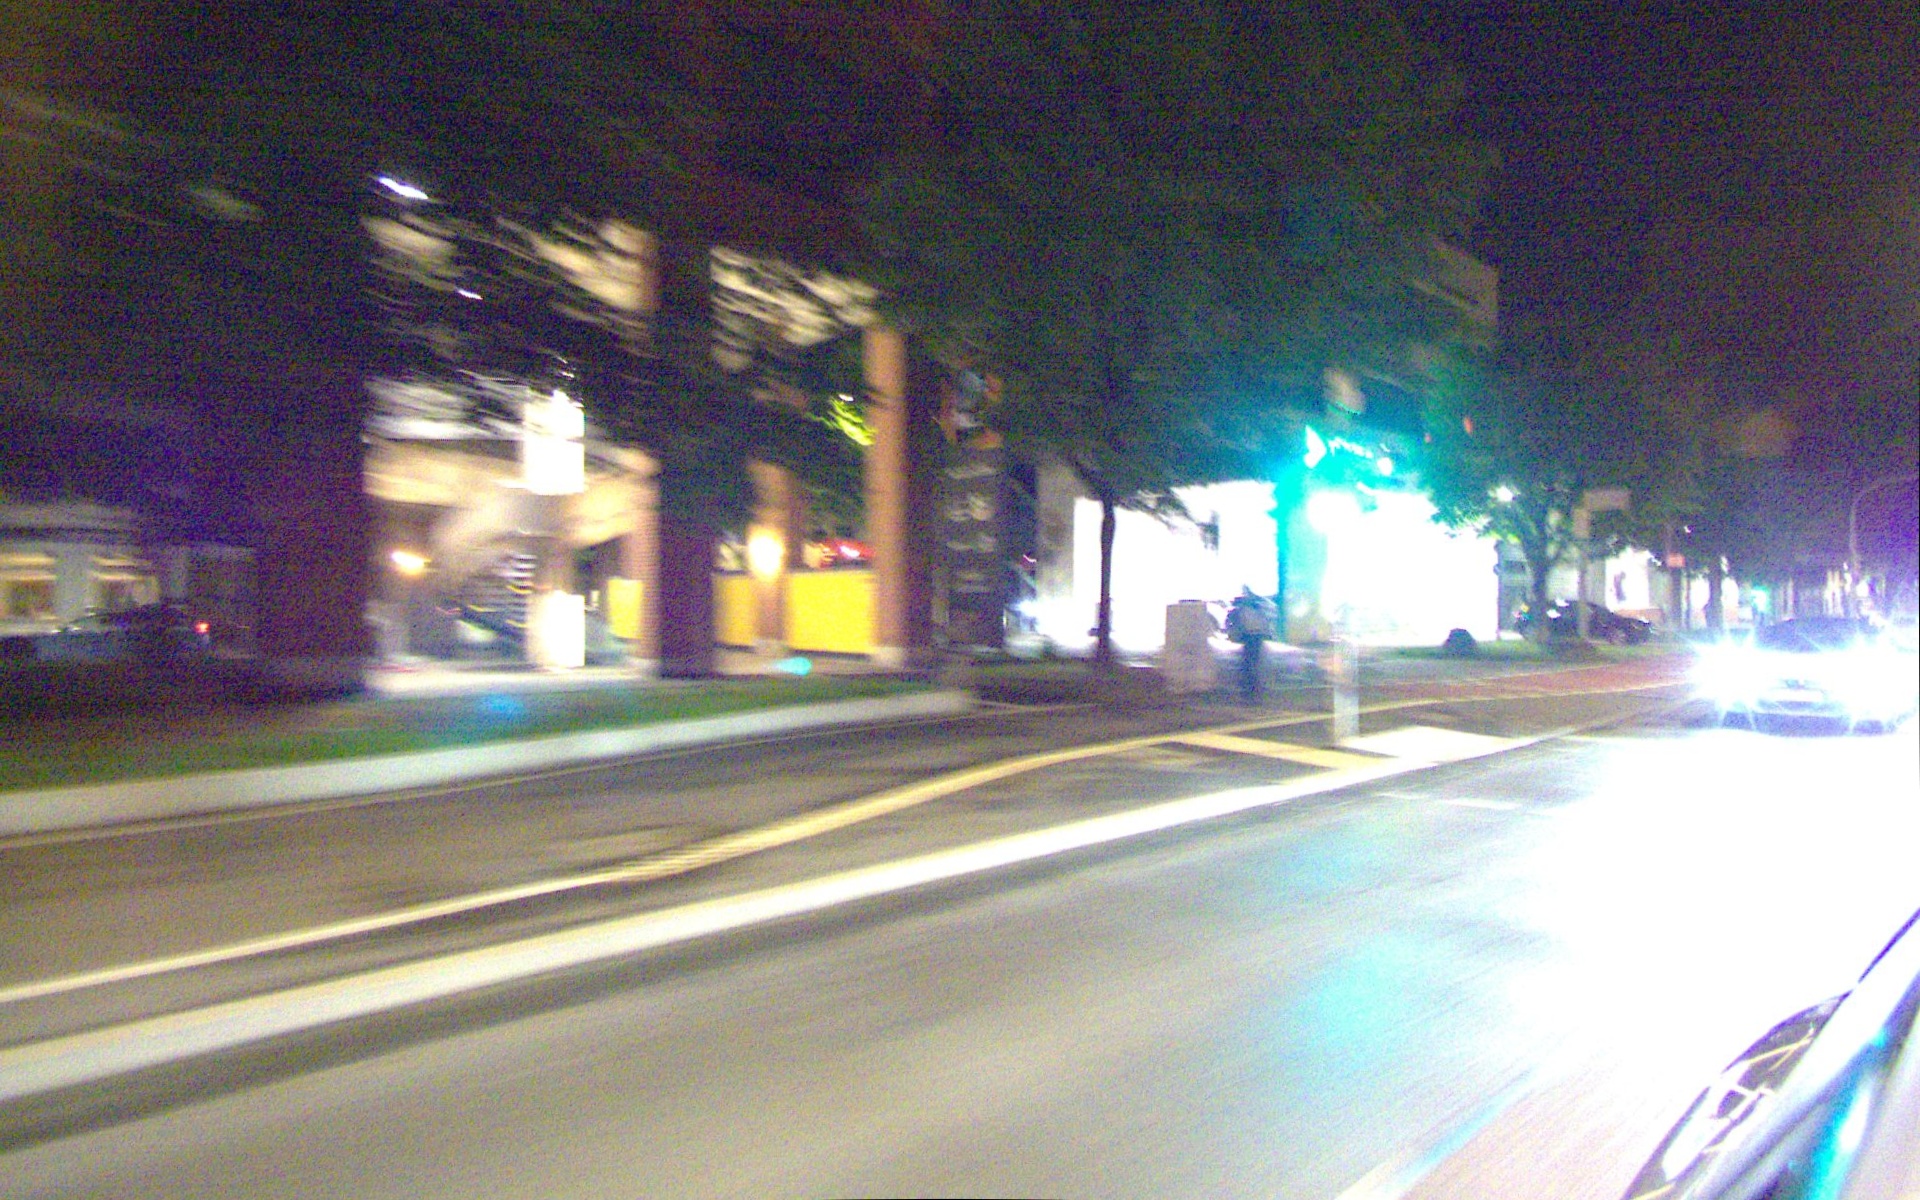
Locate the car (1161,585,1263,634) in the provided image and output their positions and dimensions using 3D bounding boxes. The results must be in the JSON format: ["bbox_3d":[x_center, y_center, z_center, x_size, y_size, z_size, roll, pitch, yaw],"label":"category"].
[{"bbox_3d":[9.125,0.289,36.532,3.933,1.616,1.729,-2,2,-43],"label":"car"}]

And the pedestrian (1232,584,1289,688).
[{"bbox_3d":[4.940,0.564,16.642,0.667,1.659,0.622,0,1,-41],"label":"pedestrian"}]

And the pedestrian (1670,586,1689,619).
[{"bbox_3d":[41.338,0.135,58.151,0.890,1.839,0.675,0,1,-41],"label":"pedestrian"}]

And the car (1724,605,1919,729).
[{"bbox_3d":[12.498,0.827,14.396,4.420,1.448,1.727,-1,0,-41],"label":"car"}]

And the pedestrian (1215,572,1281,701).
[{"bbox_3d":[4.233,0.513,14.890,0.746,1.834,0.623,0,1,-41],"label":"pedestrian"}]

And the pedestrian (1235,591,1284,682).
[{"bbox_3d":[5.211,0.616,17.631,0.622,1.553,0.573,0,1,-41],"label":"pedestrian"}]

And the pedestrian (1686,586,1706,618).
[{"bbox_3d":[41.922,0.107,57.628,0.953,1.811,0.720,0,1,-41],"label":"pedestrian"}]

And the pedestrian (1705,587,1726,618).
[{"bbox_3d":[42.348,0.139,56.720,0.968,1.738,0.736,0,1,-41],"label":"pedestrian"}]

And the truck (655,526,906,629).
[{"bbox_3d":[-8.966,-1.077,46.859,3.079,4.033,16.803,-1,2,-42],"label":"truck"}]

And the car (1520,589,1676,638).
[{"bbox_3d":[21.297,0.386,33.885,1.756,1.472,4.088,-1,2,-41],"label":"car"}]
